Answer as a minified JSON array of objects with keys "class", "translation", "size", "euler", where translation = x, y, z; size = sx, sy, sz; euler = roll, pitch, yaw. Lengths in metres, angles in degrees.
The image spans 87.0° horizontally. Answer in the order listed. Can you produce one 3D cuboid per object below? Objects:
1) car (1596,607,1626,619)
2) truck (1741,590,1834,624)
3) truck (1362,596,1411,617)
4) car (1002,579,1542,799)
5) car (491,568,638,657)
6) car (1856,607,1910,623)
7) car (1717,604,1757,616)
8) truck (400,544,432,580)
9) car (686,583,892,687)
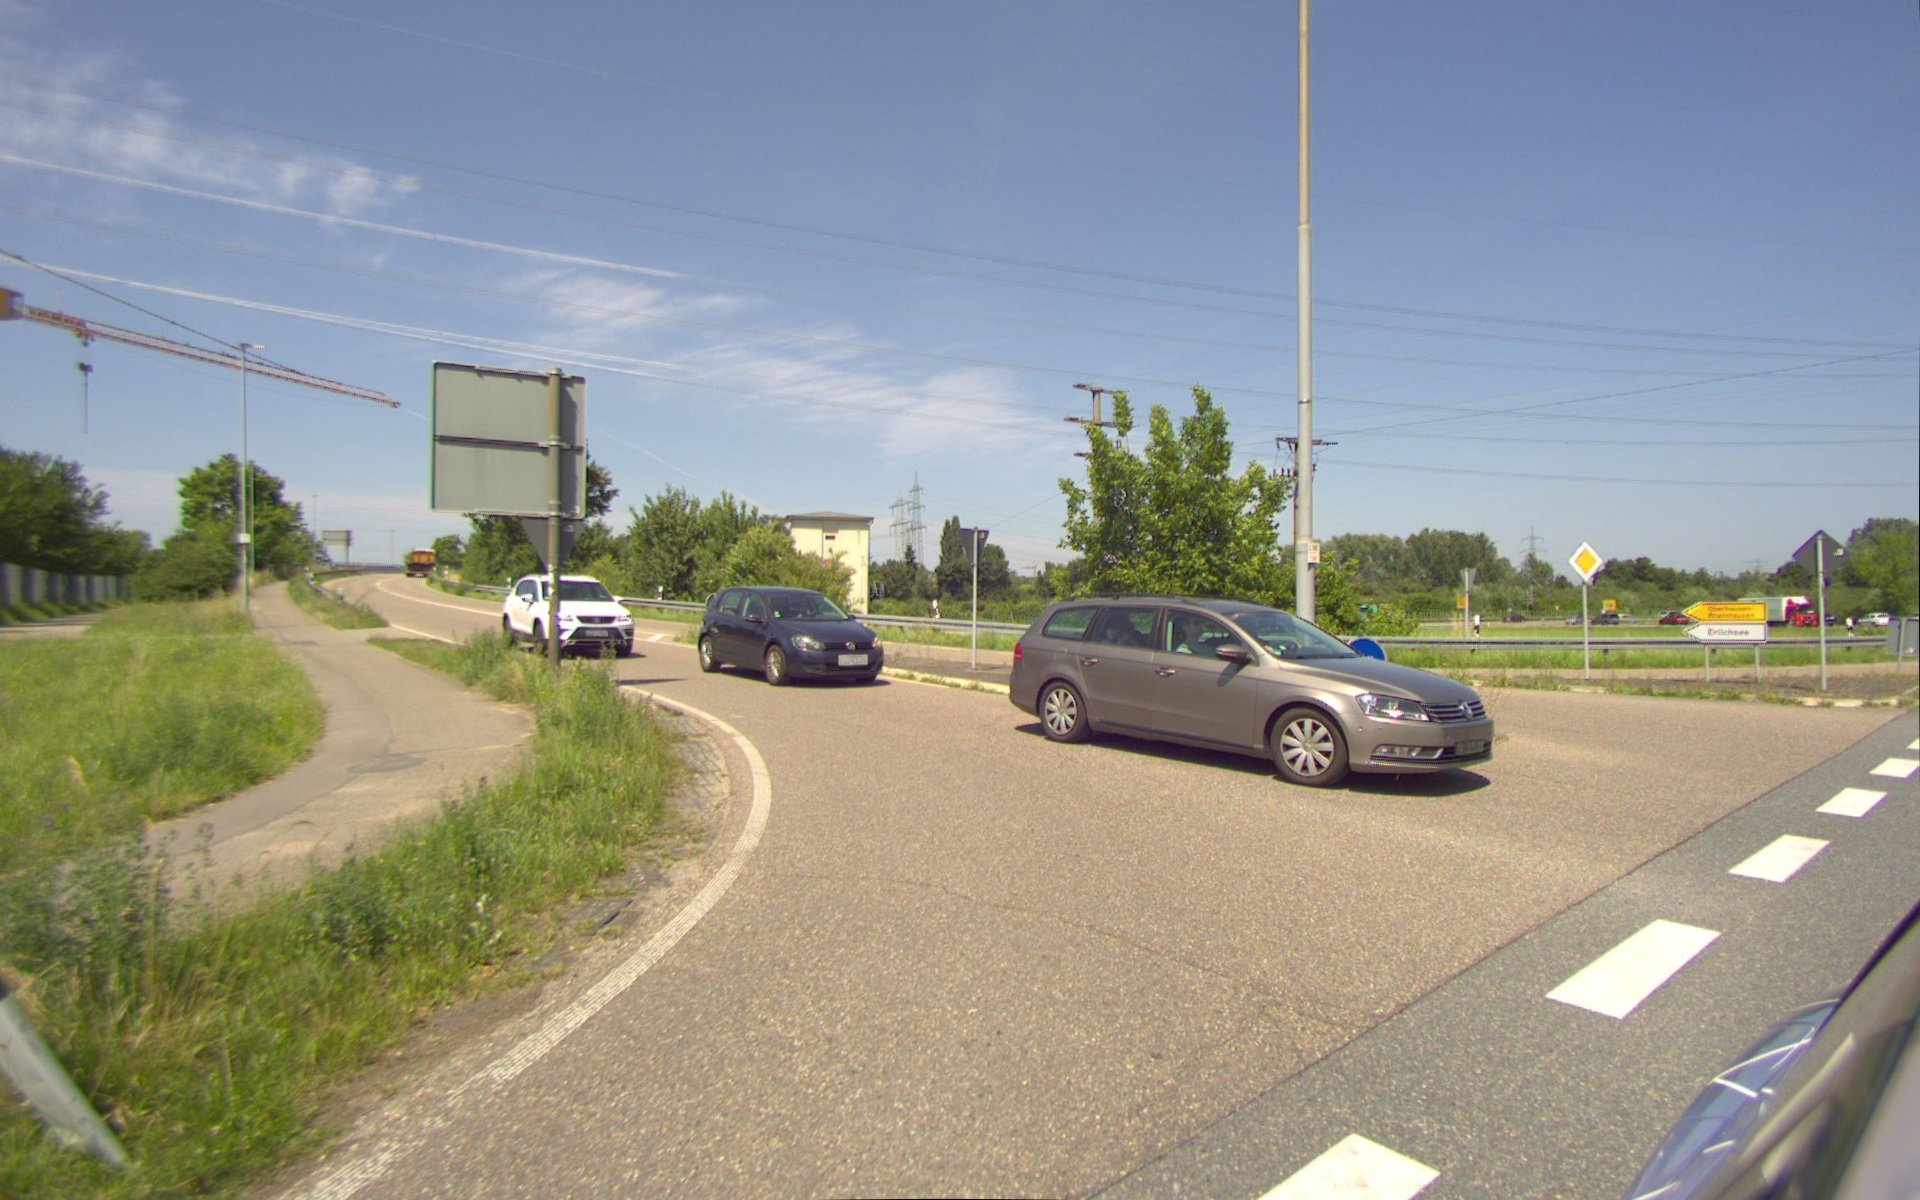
[{"class":"car","translation":[101.307,2.002,157.482],"size":[1.897,1.856,4.436],"euler":[-2,-1,2]},{"class":"truck","translation":[96.411,0.801,118.197],"size":[2.673,3.625,9.555],"euler":[-2,0,-1]},{"class":"truck","translation":[73.912,1.198,175.453],"size":[7.452,3.516,2.614],"euler":[0,-2,-10]},{"class":"car","translation":[2.591,0.603,9.400],"size":[1.880,1.527,4.521],"euler":[1,0,-39]},{"class":"car","translation":[-8.240,0.215,20.864],"size":[1.726,1.642,4.096],"euler":[2,0,-37]},{"class":"car","translation":[99.360,1.647,109.019],"size":[1.830,1.622,4.762],"euler":[-3,-2,9]},{"class":"car","translation":[102.163,1.351,133.146],"size":[1.814,1.478,4.803],"euler":[-2,0,4]},{"class":"truck","translation":[-62.528,-4.361,116.434],"size":[2.981,3.633,8.441],"euler":[-2,-1,-27]},{"class":"car","translation":[-2.878,0.468,16.347],"size":[1.604,1.459,4.010],"euler":[1,0,-37]}]
